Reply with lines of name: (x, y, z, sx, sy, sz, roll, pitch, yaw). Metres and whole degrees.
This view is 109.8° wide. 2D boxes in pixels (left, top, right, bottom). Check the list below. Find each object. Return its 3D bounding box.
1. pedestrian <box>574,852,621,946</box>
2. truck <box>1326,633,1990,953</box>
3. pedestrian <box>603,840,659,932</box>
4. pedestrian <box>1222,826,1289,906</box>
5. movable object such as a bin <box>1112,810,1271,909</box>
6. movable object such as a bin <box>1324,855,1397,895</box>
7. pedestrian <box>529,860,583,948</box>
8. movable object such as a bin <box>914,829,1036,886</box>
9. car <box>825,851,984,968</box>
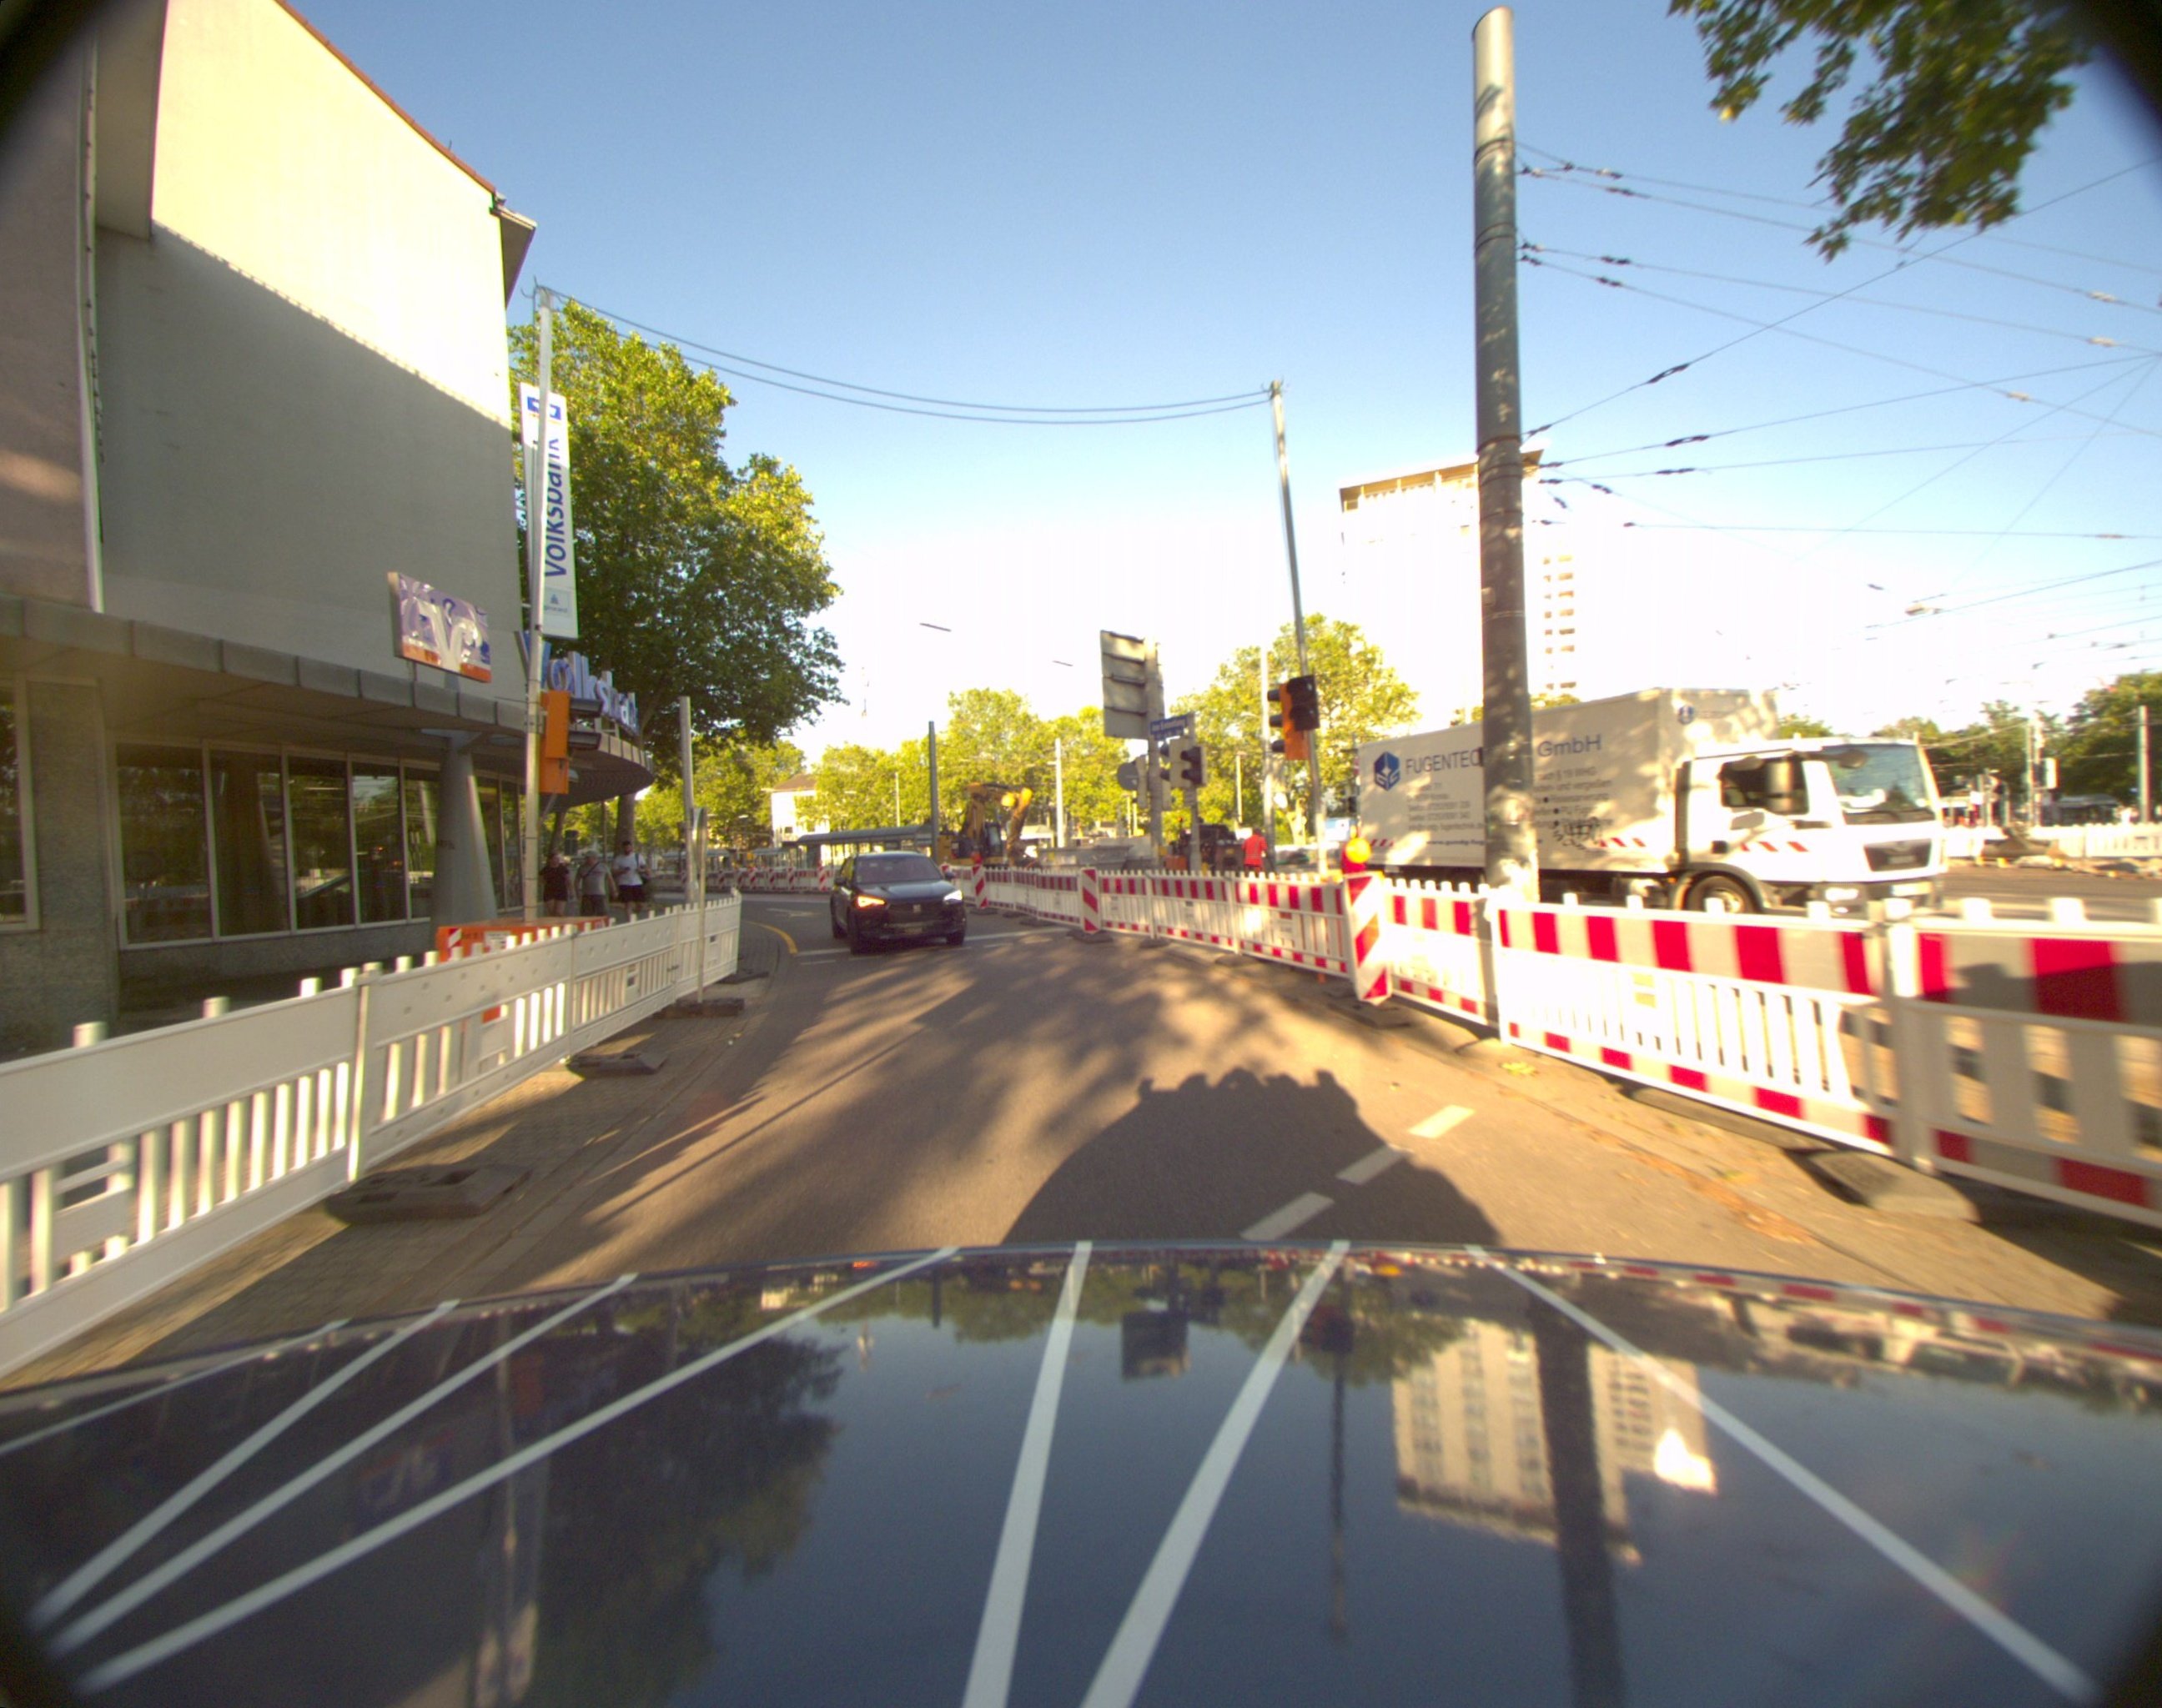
pedestrian: (-9.033, 0.830, 14.213, 0.585, 1.698, 0.678, 0, -1, -20)
truck: (8.297, -0.706, 13.068, 2.823, 3.521, 8.968, -3, 1, -19)
pedestrian: (-9.444, 0.675, 15.988, 0.841, 1.858, 1.097, 2, -2, -24)
pedestrian: (4.077, 0.269, 17.788, 0.977, 1.788, 1.067, -3, 1, -29)
movable object such as a bin: (2.792, 0.121, 20.696, 2.001, 2.244, 5.199, -4, 1, -19)
movable object such as a bin: (6.921, 0.503, 18.847, 0.937, 0.911, 1.416, -3, 1, -44)
pedestrian: (-9.666, 0.909, 14.015, 0.635, 1.564, 0.773, 0, -1, -20)
movable object such as a bin: (-4.800, 0.181, 34.069, 4.888, 2.304, 2.656, -2, 1, 38)
car: (-3.323, 0.827, 13.621, 2.002, 1.638, 4.196, -4, 1, -23)
